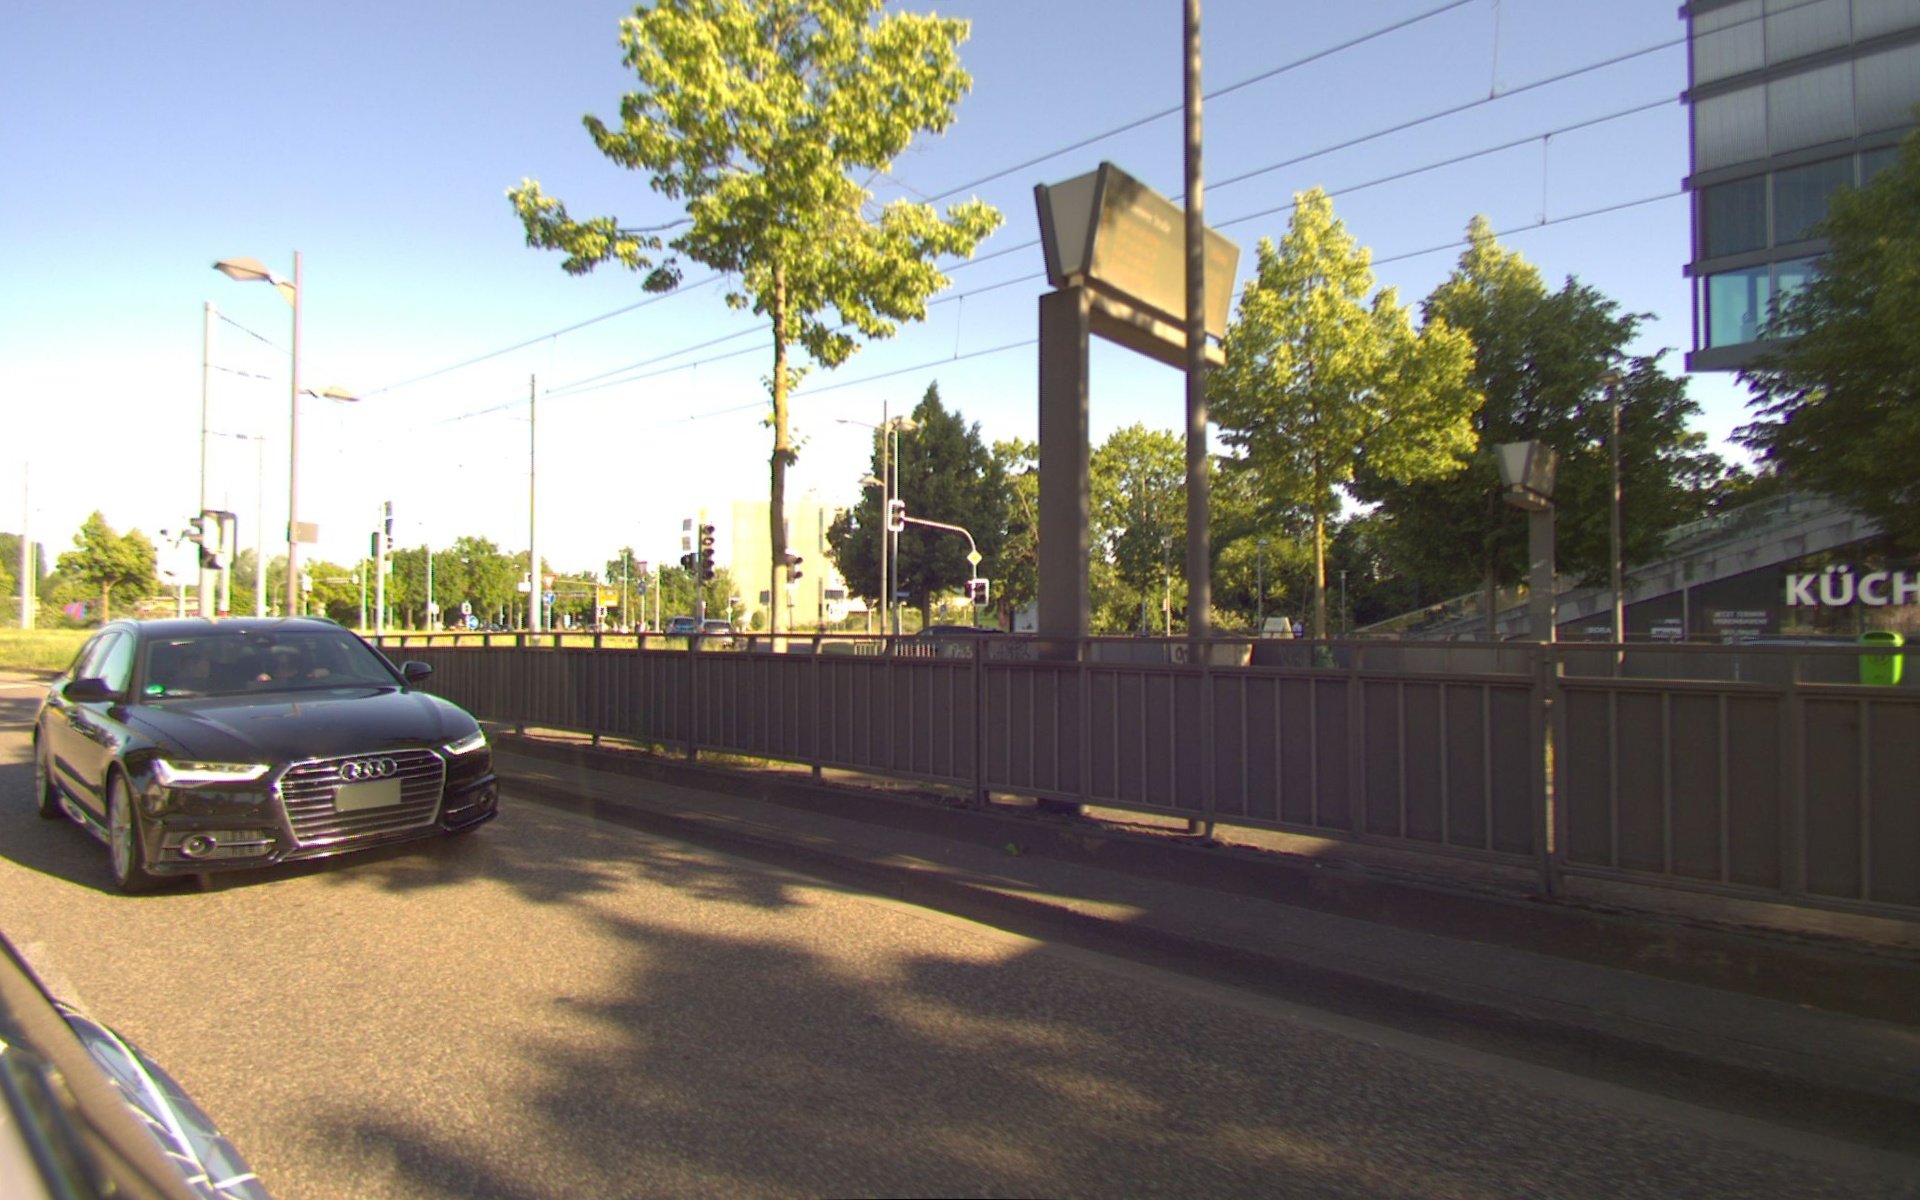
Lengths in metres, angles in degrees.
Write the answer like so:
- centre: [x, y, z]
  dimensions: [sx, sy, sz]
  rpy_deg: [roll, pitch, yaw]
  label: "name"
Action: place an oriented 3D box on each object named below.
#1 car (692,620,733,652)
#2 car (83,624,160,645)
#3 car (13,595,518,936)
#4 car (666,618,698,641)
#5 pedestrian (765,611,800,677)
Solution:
- centre: [-11.844, 1.724, 48.374]
  dimensions: [1.636, 1.406, 3.623]
  rpy_deg: [3, -2, -17]
  label: "car"
- centre: [-60.427, 2.482, 72.994]
  dimensions: [1.798, 1.439, 3.964]
  rpy_deg: [1, 0, 34]
  label: "car"
- centre: [-4.867, 0.790, 6.781]
  dimensions: [4.600, 1.538, 1.765]
  rpy_deg: [-1, -1, 42]
  label: "car"
- centre: [-16.461, 1.737, 59.966]
  dimensions: [1.637, 1.274, 3.631]
  rpy_deg: [1, 0, -13]
  label: "car"
- centre: [-4.415, 1.081, 25.138]
  dimensions: [0.810, 1.590, 0.413]
  rpy_deg: [0, -1, 39]
  label: "pedestrian"
